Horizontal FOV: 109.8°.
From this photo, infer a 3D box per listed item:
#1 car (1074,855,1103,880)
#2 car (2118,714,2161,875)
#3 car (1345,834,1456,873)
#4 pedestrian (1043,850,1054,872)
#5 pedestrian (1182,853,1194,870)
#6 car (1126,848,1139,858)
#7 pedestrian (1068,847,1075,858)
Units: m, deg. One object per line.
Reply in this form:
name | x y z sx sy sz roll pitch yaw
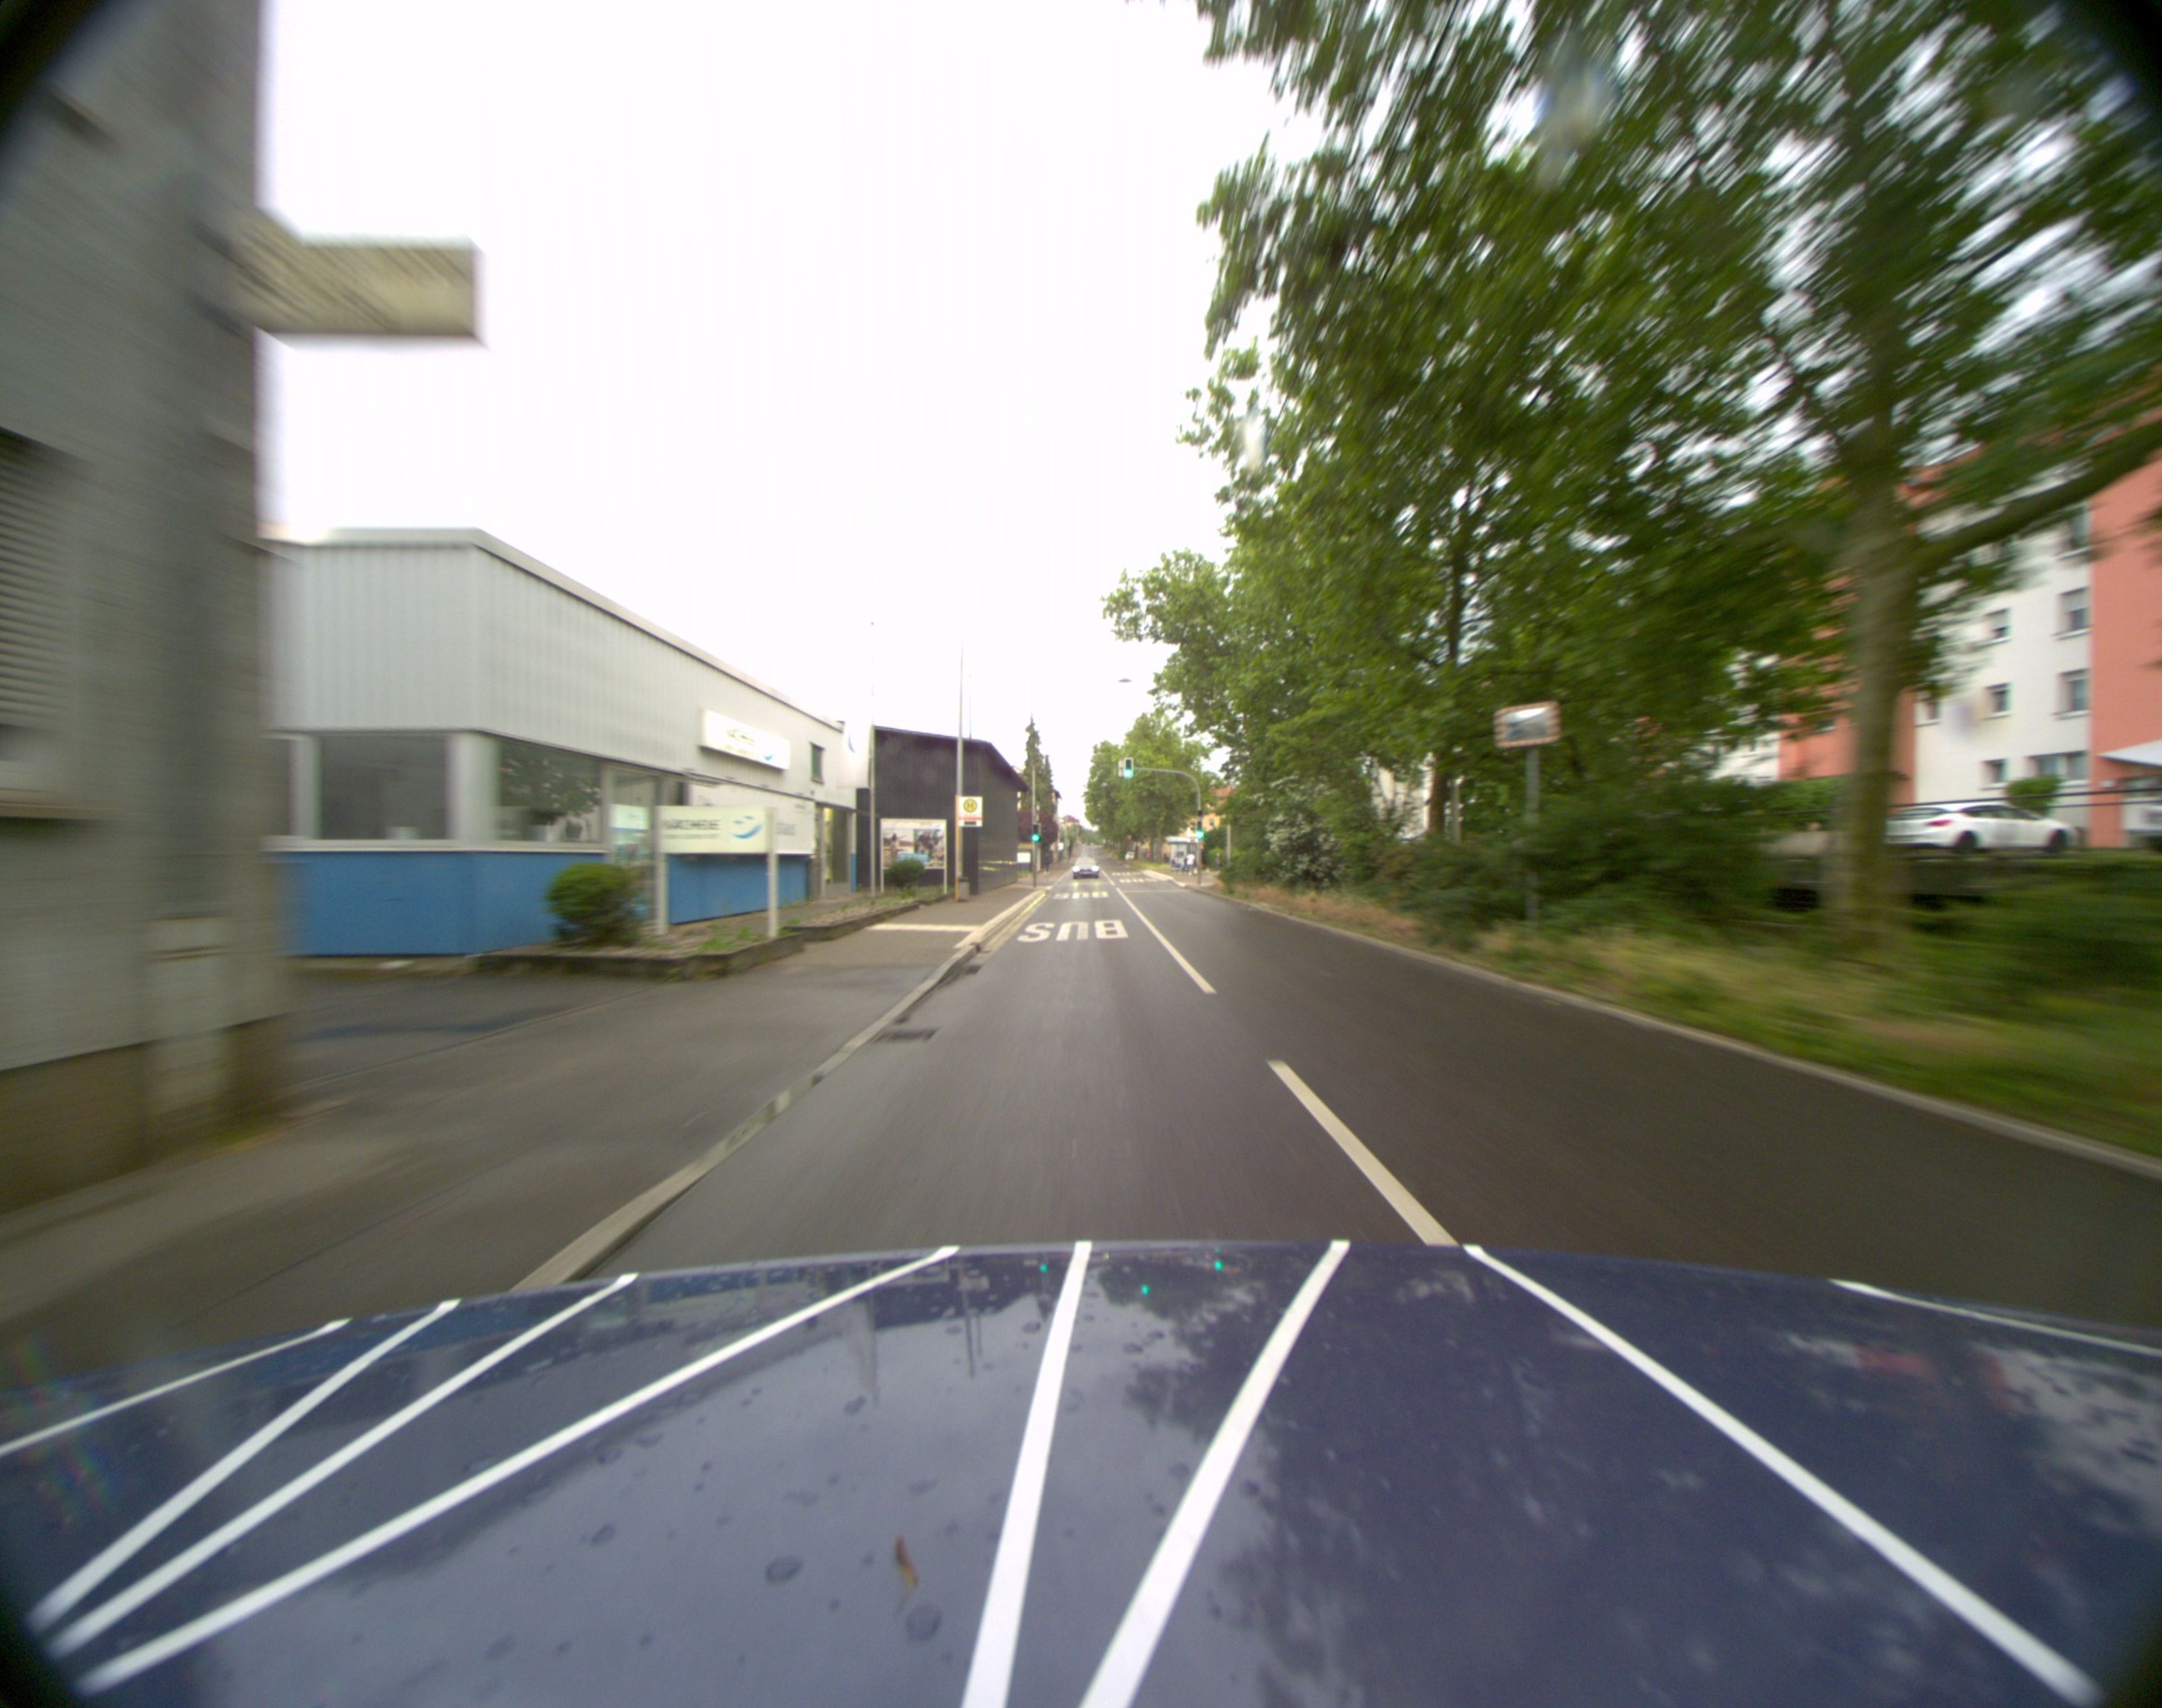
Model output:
car | 0.512 0.962 54.149 1.949 1.644 3.860 -1 -1 0
car | 15.614 -0.771 9.074 4.179 2.002 1.719 -1 1 -1
car | 15.537 -0.040 37.140 4.556 1.663 1.999 -2 2 0
pedestrian | -2.644 0.548 62.012 0.744 1.695 0.901 -2 2 -5
pedestrian | 8.165 0.567 58.020 0.777 1.310 0.641 1 3 4
car | 8.349 -0.137 122.852 1.790 1.542 4.351 -1 1 0
pedestrian | -1.677 -0.349 132.847 1.045 1.887 0.900 -1 2 1
